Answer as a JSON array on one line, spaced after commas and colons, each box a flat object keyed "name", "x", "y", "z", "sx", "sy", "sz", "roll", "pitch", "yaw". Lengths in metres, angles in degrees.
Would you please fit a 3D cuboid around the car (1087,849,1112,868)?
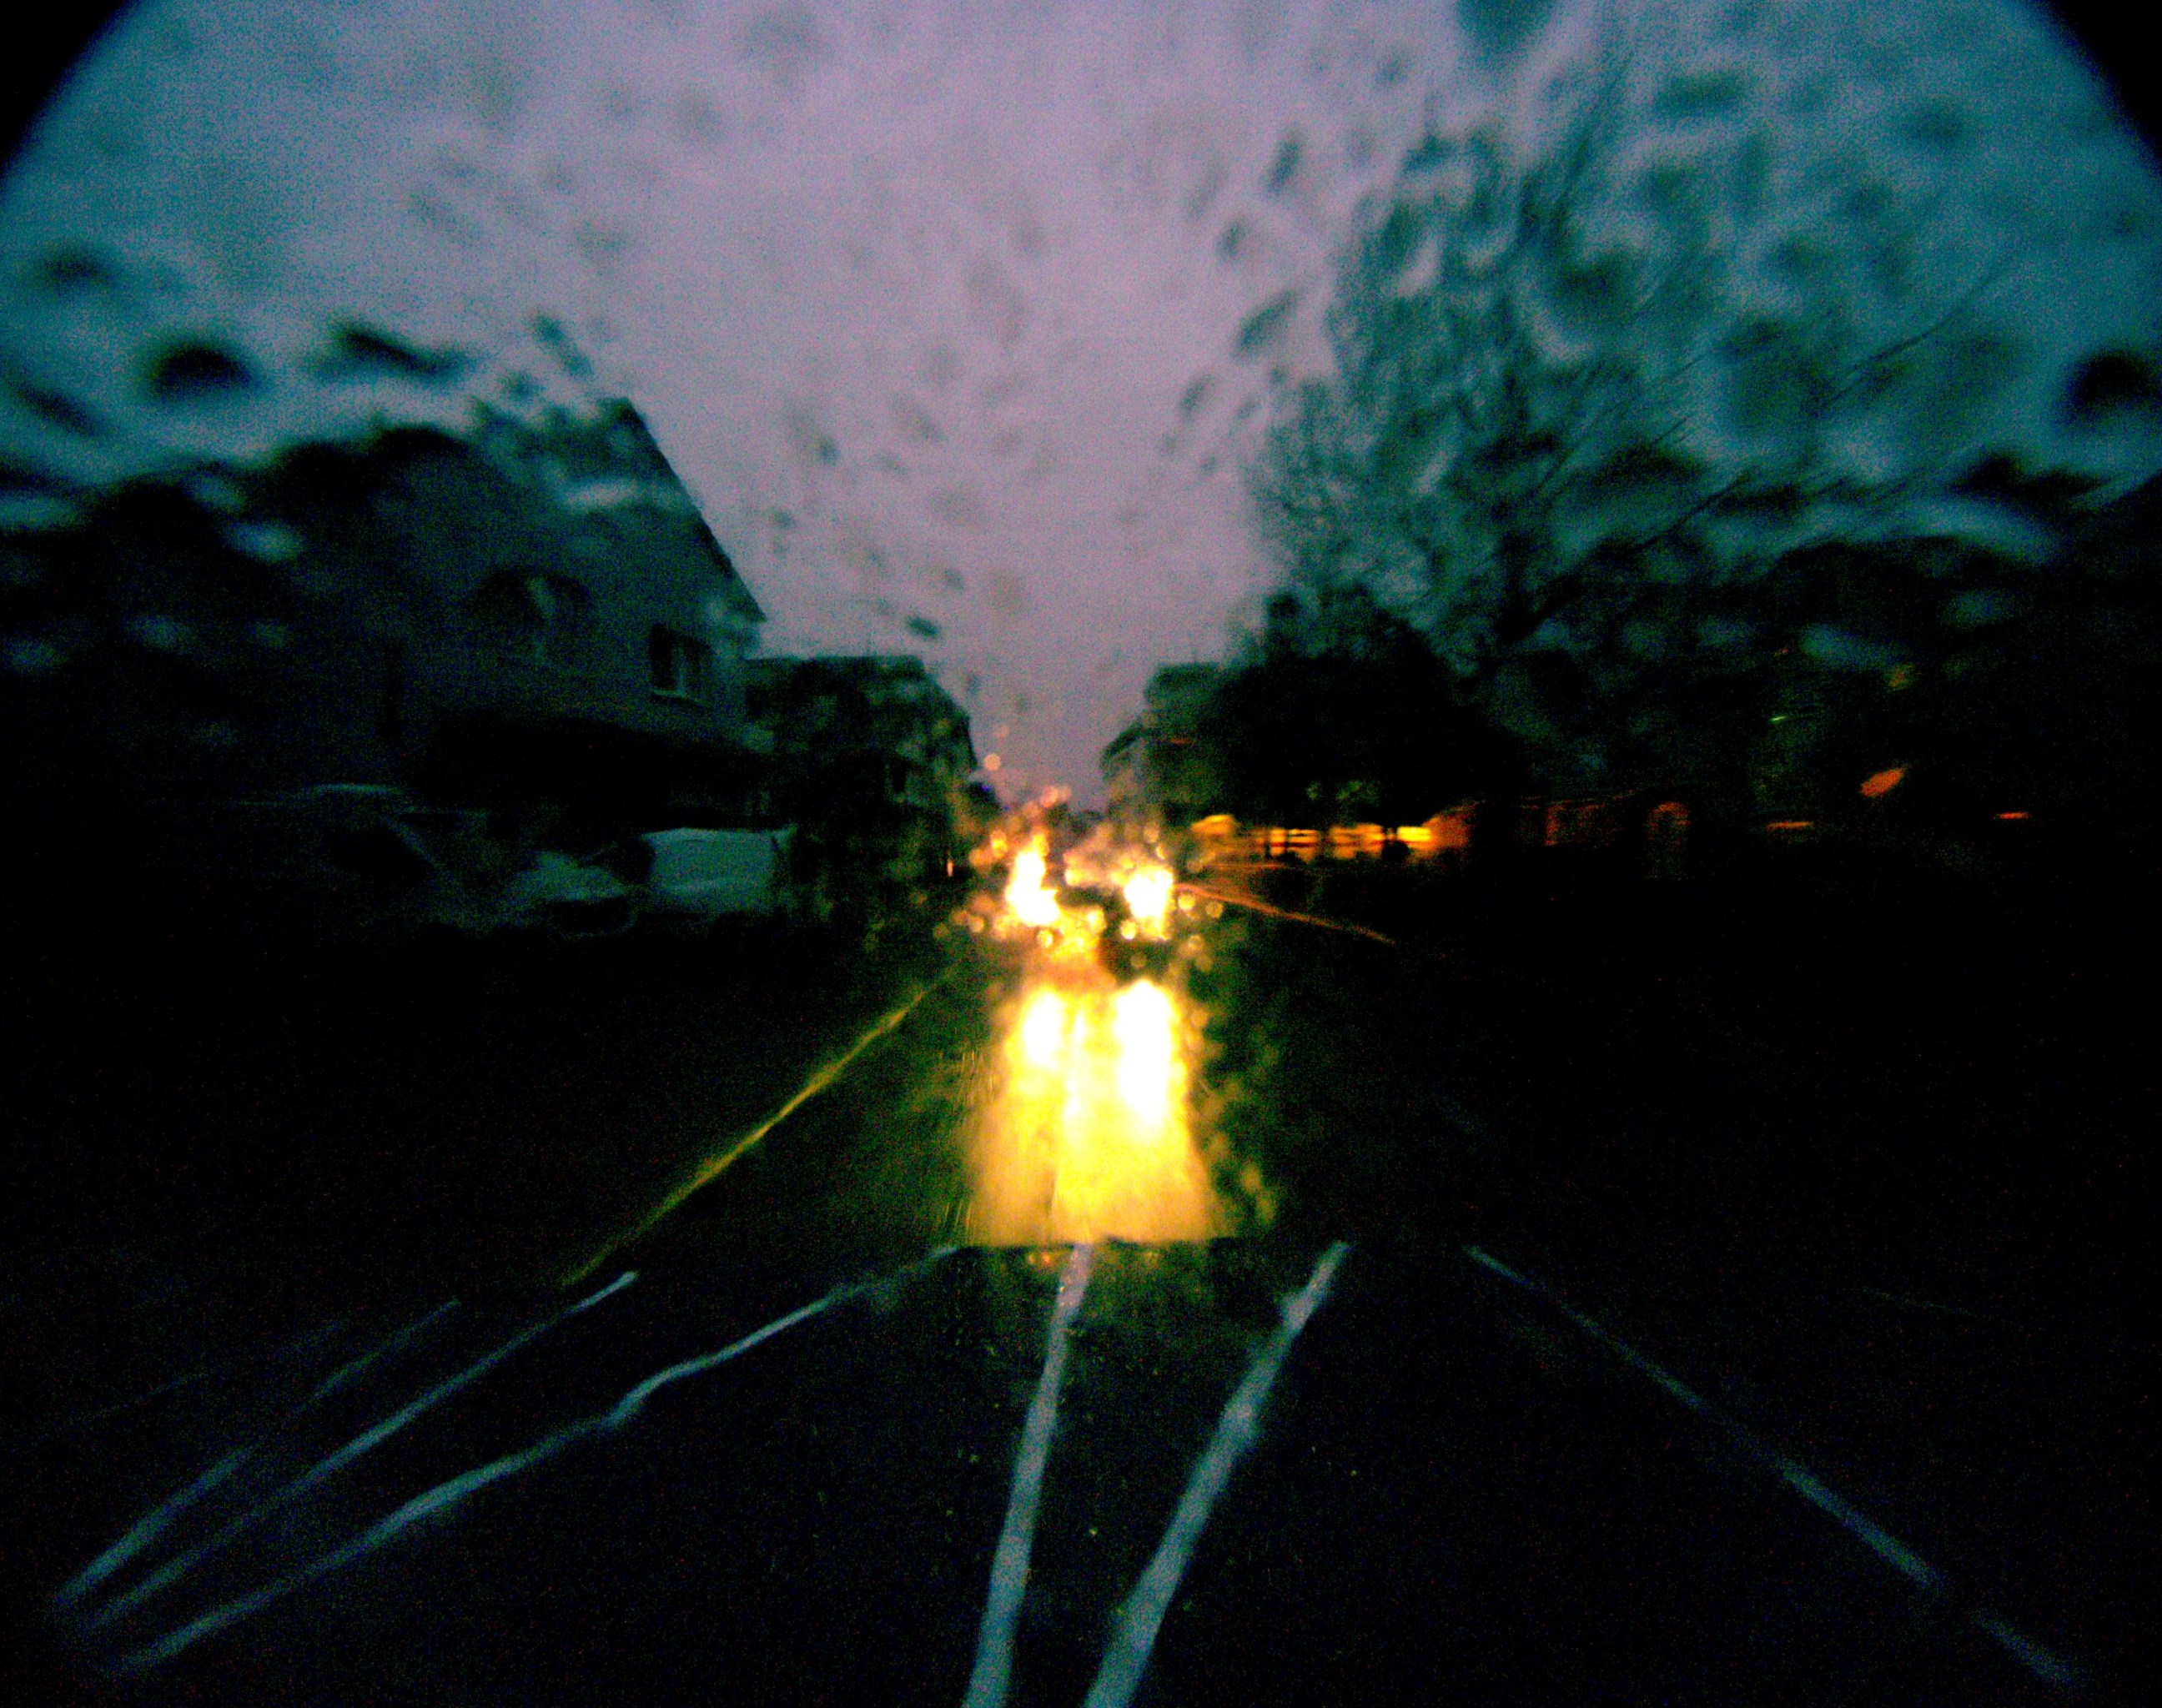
[{"name": "car", "x": 1.559, "y": 0.382, "z": 66.390, "sx": 1.900, "sy": 1.607, "sz": 3.826, "roll": -2, "pitch": 0, "yaw": -3}]

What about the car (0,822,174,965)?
[{"name": "car", "x": -14.551, "y": 0.420, "z": 9.904, "sx": 3.992, "sy": 1.613, "sz": 1.882, "roll": 2, "pitch": 2, "yaw": 13}]

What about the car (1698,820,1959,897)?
[{"name": "car", "x": 16.977, "y": 0.109, "z": 17.541, "sx": 3.989, "sy": 1.623, "sz": 1.637, "roll": -1, "pitch": 1, "yaw": 27}]

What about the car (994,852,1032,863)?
[{"name": "car", "x": -7.056, "y": 0.375, "z": 78.902, "sx": 3.889, "sy": 1.121, "sz": 1.550, "roll": 0, "pitch": 0, "yaw": -4}]

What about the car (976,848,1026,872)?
[{"name": "car", "x": -6.385, "y": 0.480, "z": 60.488, "sx": 3.891, "sy": 1.866, "sz": 1.868, "roll": 0, "pitch": 0, "yaw": -9}]

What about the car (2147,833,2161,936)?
[{"name": "car", "x": 15.896, "y": 0.393, "z": 8.991, "sx": 3.476, "sy": 1.401, "sz": 1.613, "roll": -2, "pitch": 1, "yaw": 38}]

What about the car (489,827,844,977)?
[{"name": "car", "x": -5.702, "y": 0.595, "z": 10.777, "sx": 4.050, "sy": 1.833, "sz": 1.864, "roll": 1, "pitch": 1, "yaw": 4}]

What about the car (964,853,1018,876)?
[{"name": "car", "x": -6.539, "y": 0.756, "z": 55.079, "sx": 3.854, "sy": 1.618, "sz": 1.610, "roll": 0, "pitch": 0, "yaw": -8}]

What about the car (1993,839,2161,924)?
[{"name": "car", "x": 16.456, "y": 0.391, "z": 11.520, "sx": 3.047, "sy": 1.213, "sz": 1.613, "roll": -2, "pitch": 1, "yaw": 36}]

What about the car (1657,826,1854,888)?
[{"name": "car", "x": 19.088, "y": 0.093, "z": 21.757, "sx": 3.989, "sy": 1.623, "sz": 1.638, "roll": 0, "pitch": 1, "yaw": 32}]

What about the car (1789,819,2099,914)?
[{"name": "car", "x": 16.136, "y": 0.237, "z": 14.505, "sx": 3.625, "sy": 1.603, "sz": 1.613, "roll": -2, "pitch": 1, "yaw": 36}]

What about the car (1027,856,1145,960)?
[{"name": "car", "x": 0.089, "y": 0.822, "z": 13.275, "sx": 1.731, "sy": 1.475, "sz": 3.603, "roll": -2, "pitch": 0, "yaw": 0}]

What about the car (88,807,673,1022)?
[{"name": "car", "x": -7.341, "y": 0.524, "z": 8.194, "sx": 4.989, "sy": 1.878, "sz": 1.938, "roll": 1, "pitch": 0, "yaw": 9}]

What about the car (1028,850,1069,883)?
[{"name": "car", "x": -1.791, "y": 0.628, "z": 40.609, "sx": 1.924, "sy": 1.608, "sz": 3.866, "roll": -2, "pitch": 0, "yaw": -5}]

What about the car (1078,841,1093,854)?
[{"name": "car", "x": 0.673, "y": -0.970, "z": 117.499, "sx": 1.838, "sy": 2.002, "sz": 3.698, "roll": -2, "pitch": 0, "yaw": -5}]
